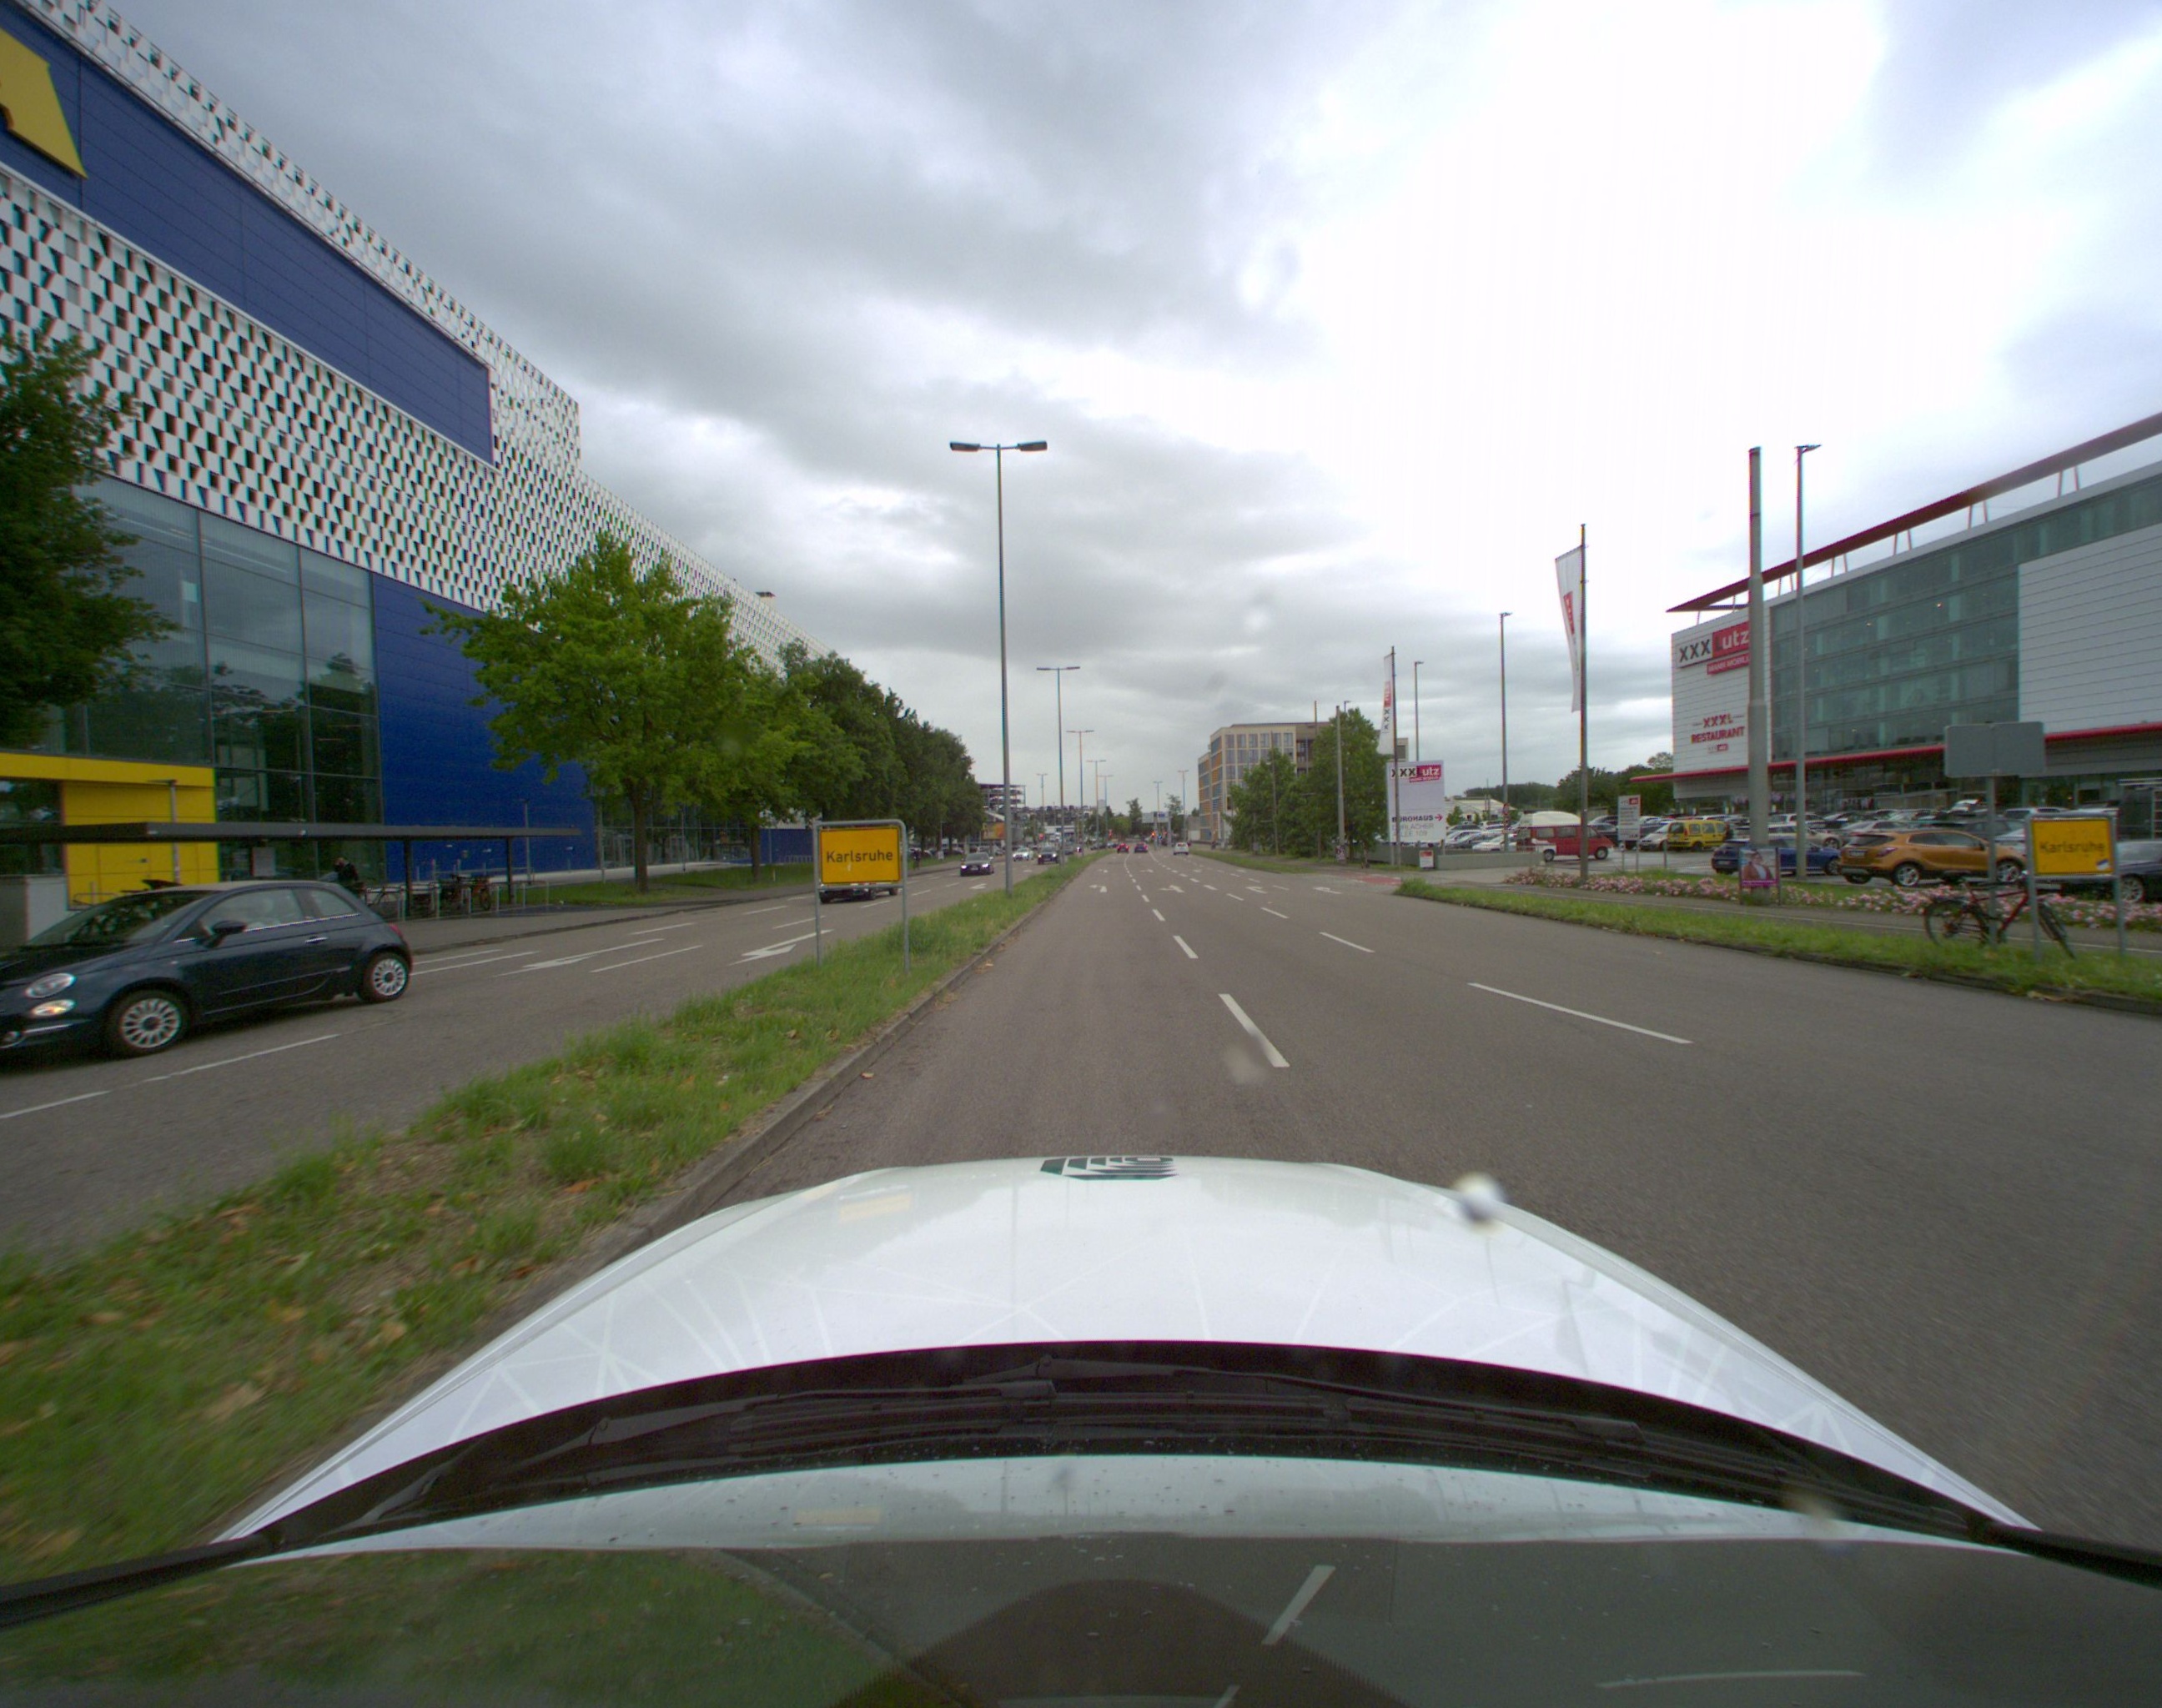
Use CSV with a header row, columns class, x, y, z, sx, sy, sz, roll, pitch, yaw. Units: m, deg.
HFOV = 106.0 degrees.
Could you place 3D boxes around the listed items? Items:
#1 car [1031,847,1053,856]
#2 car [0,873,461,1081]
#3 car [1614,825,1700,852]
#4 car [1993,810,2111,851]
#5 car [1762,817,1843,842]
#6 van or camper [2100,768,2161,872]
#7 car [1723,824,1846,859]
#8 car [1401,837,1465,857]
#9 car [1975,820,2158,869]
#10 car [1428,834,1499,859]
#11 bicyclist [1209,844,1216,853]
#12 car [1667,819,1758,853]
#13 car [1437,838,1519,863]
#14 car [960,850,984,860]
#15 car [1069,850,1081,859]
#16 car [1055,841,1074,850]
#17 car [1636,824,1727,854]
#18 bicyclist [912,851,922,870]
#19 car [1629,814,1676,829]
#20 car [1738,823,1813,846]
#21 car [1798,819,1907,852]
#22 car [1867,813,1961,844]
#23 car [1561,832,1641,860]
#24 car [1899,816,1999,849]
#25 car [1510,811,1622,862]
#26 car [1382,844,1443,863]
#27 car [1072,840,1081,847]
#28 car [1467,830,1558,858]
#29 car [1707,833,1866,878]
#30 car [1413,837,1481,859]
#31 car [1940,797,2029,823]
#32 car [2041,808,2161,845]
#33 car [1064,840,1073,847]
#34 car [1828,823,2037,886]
class,x,y,z,sx,sy,sz,roll,pitch,yaw
car,-7.981,-0.486,168.086,4.407,1.660,1.998,-2,0,-4
car,-8.858,1.051,8.442,1.596,1.497,4.039,-4,0,2
car,35.687,-0.950,50.543,3.972,1.534,1.889,-1,0,1
car,50.981,-1.240,42.819,3.974,2.055,1.914,-1,2,-1
car,51.007,-1.762,57.628,3.968,1.610,1.885,-1,2,5
van or camper,33.822,-1.052,23.601,5.346,2.983,1.997,-2,0,10
car,34.802,-0.655,40.387,4.392,1.583,1.836,-1,2,4
car,26.307,-0.547,60.885,4.039,1.350,1.765,-1,2,1
car,34.425,-0.332,28.551,3.969,1.552,1.866,-2,0,4
car,26.133,-0.536,55.725,4.036,1.540,1.766,-1,2,3
bicyclist,22.330,-0.935,138.099,0.705,1.503,0.990,-2,1,-33
car,35.418,-1.045,45.746,3.720,1.767,1.736,-1,2,3
car,25.898,-0.255,53.230,4.446,1.419,1.869,-1,2,3
car,-21.142,0.195,157.564,4.407,1.660,1.998,-2,0,-4
car,-1.023,0.037,142.901,1.773,1.455,4.185,-3,1,3
car,-3.692,-1.966,182.585,3.976,1.789,1.847,-2,2,-2
car,35.495,-0.916,48.239,3.970,1.595,1.882,-1,2,3
bicyclist,-13.650,0.531,67.707,0.638,1.577,1.001,0,0,2
car,57.625,-3.282,82.155,3.576,1.376,1.705,-1,2,4
car,51.374,-1.425,60.315,3.968,1.561,1.780,-1,2,5
car,40.686,-0.978,43.016,3.969,1.634,1.789,-1,0,4
car,51.425,-1.549,50.311,3.977,1.822,1.887,-1,0,-2
car,35.553,-0.563,55.762,4.292,1.743,1.892,-1,2,5
car,50.921,-1.248,47.834,3.975,1.840,1.840,-1,0,-1
car,25.955,-0.955,43.730,4.702,2.578,2.173,-1,2,3
car,26.263,-0.033,64.652,4.137,1.350,1.811,-1,2,1
car,-1.283,-2.961,226.728,1.766,1.705,3.926,-1,2,8
car,25.721,-0.609,48.655,4.355,1.461,1.963,-1,2,3
car,24.824,0.055,28.759,3.970,1.455,1.816,-2,0,3
car,26.140,-0.433,58.207,4.039,1.350,1.836,-1,2,1
car,59.186,-2.878,53.420,3.779,1.553,1.832,-1,2,1
car,50.402,-1.334,40.135,3.973,1.655,1.835,-1,0,0
car,-3.463,-2.893,226.800,1.766,1.705,3.926,-1,2,8
car,24.728,0.021,23.782,3.966,1.643,1.819,-2,0,6
